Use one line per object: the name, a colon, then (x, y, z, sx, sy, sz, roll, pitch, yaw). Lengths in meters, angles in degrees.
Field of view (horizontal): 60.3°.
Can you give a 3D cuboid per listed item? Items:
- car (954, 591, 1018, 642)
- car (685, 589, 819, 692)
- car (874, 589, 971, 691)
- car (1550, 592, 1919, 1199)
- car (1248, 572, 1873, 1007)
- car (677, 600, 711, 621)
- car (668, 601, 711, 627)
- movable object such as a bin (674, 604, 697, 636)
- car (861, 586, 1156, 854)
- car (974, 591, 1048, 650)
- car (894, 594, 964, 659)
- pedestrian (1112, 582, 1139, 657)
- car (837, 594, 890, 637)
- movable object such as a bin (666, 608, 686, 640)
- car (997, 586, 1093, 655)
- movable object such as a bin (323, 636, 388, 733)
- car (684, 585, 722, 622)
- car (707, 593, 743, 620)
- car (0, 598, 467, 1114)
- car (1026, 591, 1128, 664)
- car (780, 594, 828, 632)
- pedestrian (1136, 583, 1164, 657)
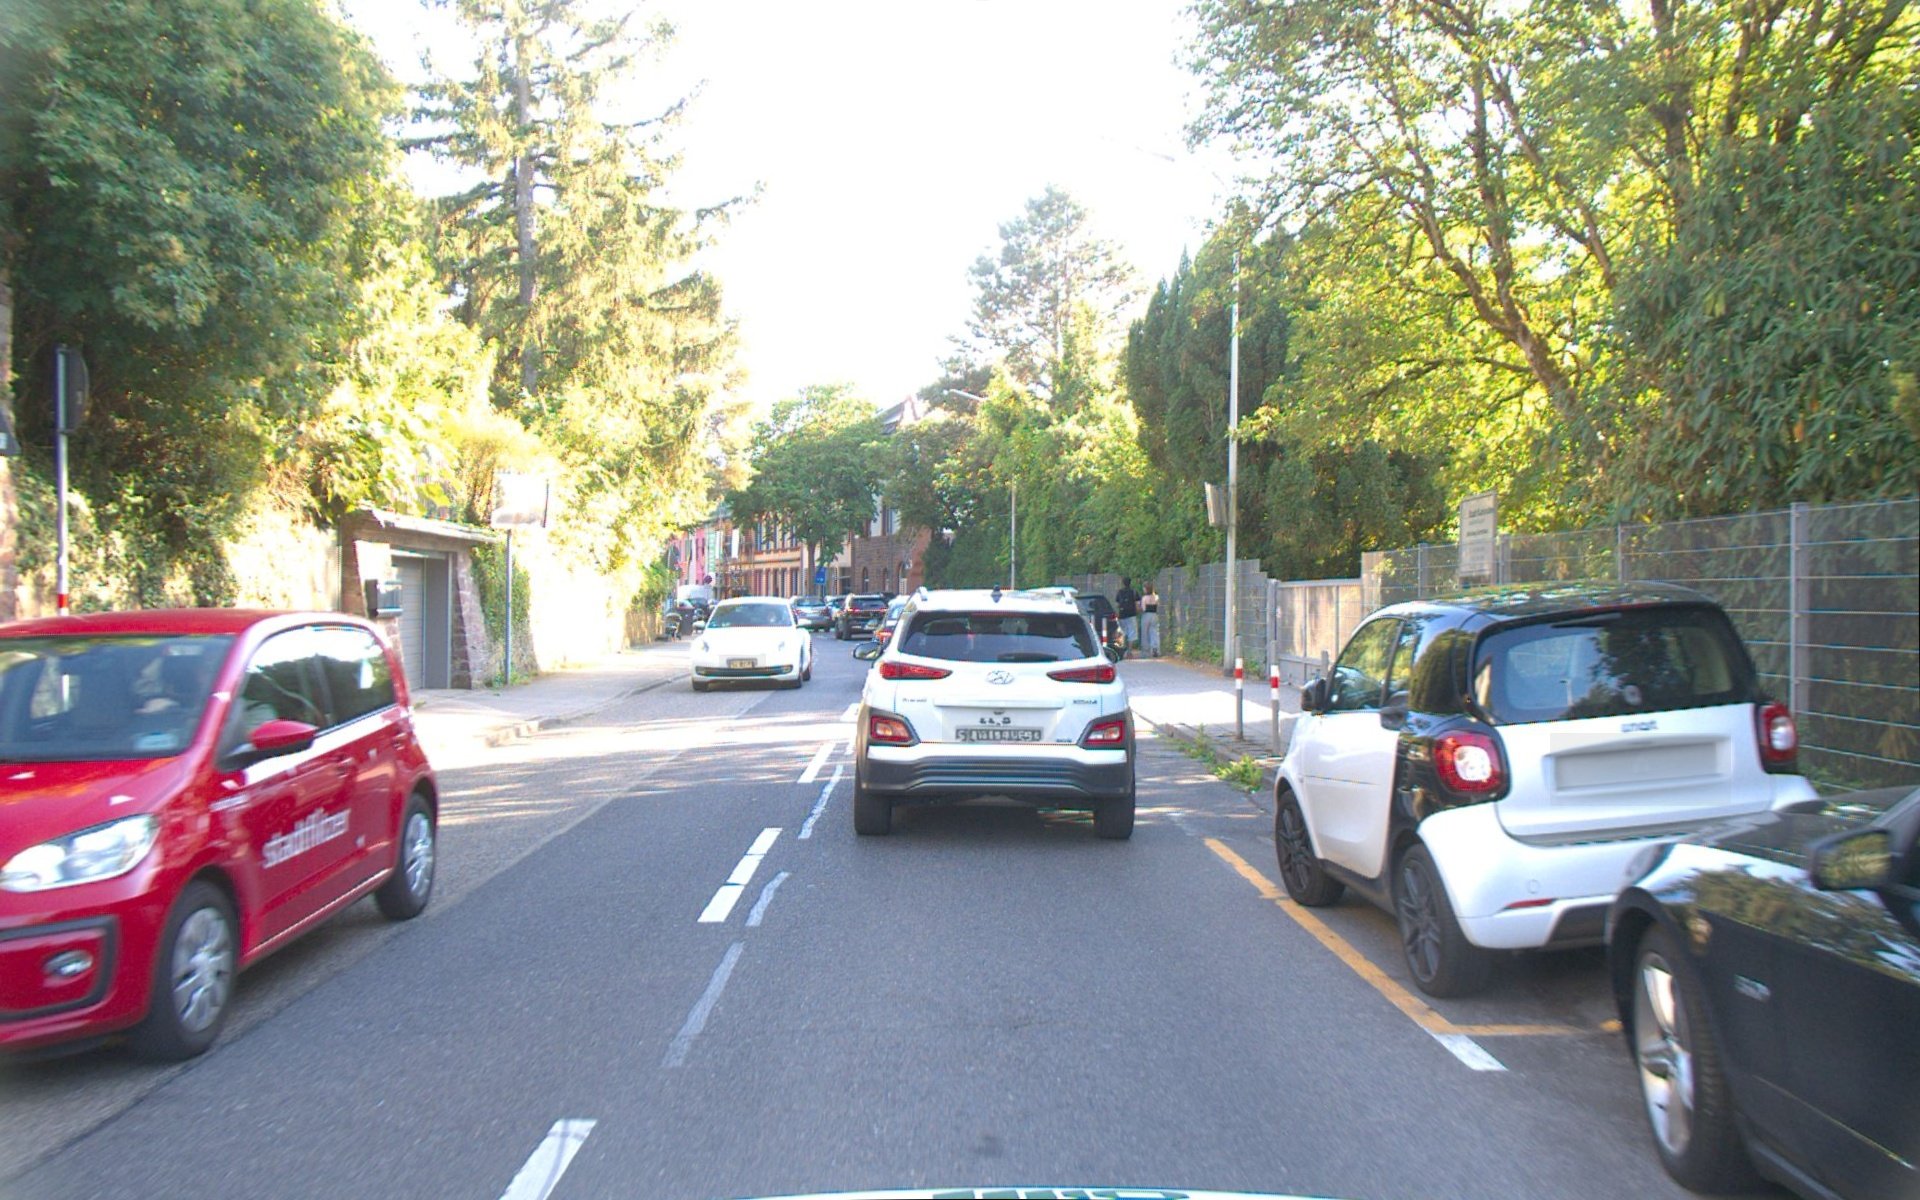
car: (0.795, 0.499, 52.589, 1.563, 1.515, 3.598, -3, 0, -6)
car: (-3.430, 0.641, 27.922, 1.706, 1.500, 3.999, -3, 0, -1)
car: (-0.664, 0.604, 27.285, 1.482, 1.560, 3.545, 0, 0, -3)
car: (2.646, 0.775, 2.704, 1.675, 1.524, 4.814, 2, 0, 1)
car: (2.497, 0.675, 7.590, 1.593, 1.536, 2.901, -2, 1, -5)
car: (-16.886, 0.642, 104.972, 1.504, 1.282, 3.340, 0, 0, -20)
car: (-13.932, 0.711, 85.006, 1.569, 1.341, 3.790, 0, 0, -19)
movable object such as a bin: (-10.563, 0.760, 63.678, 0.776, 1.210, 0.772, 1, -1, -3)
car: (0.275, 0.714, 11.819, 1.736, 1.569, 3.999, 1, 0, -1)
car: (1.399, 0.566, 47.089, 1.563, 1.545, 3.927, -3, 0, -6)
car: (-0.720, 0.618, 40.582, 1.538, 1.503, 3.548, 1, 0, 1)
pedestrian: (3.638, 0.427, 36.359, 0.493, 1.634, 0.491, -2, 0, -1)
car: (-3.474, 0.553, 58.983, 1.563, 1.486, 3.092, 0, 0, -10)
movable object such as a bin: (-9.219, 0.777, 53.705, 0.485, 1.029, 1.112, 1, -1, -1)
car: (2.081, 0.510, 41.538, 1.564, 1.592, 3.991, -2, 0, -9)
movable object such as a bin: (-6.396, 0.885, 17.514, 0.480, 0.981, 0.583, 1, 0, -4)
car: (-18.695, 0.267, 120.043, 1.900, 2.628, 4.368, -1, 0, -20)
car: (-15.846, 0.423, 111.246, 1.729, 1.645, 3.980, 1, 1, -18)
car: (-3.257, 0.762, 6.594, 1.519, 1.492, 3.568, -2, 0, -1)
car: (2.498, 0.558, 36.170, 1.653, 1.456, 3.997, -2, 0, -4)
car: (-6.948, 0.561, 73.383, 1.564, 1.610, 3.346, 0, 0, -16)
pedestrian: (4.181, 0.426, 36.371, 0.493, 1.596, 0.503, -2, 0, -1)
